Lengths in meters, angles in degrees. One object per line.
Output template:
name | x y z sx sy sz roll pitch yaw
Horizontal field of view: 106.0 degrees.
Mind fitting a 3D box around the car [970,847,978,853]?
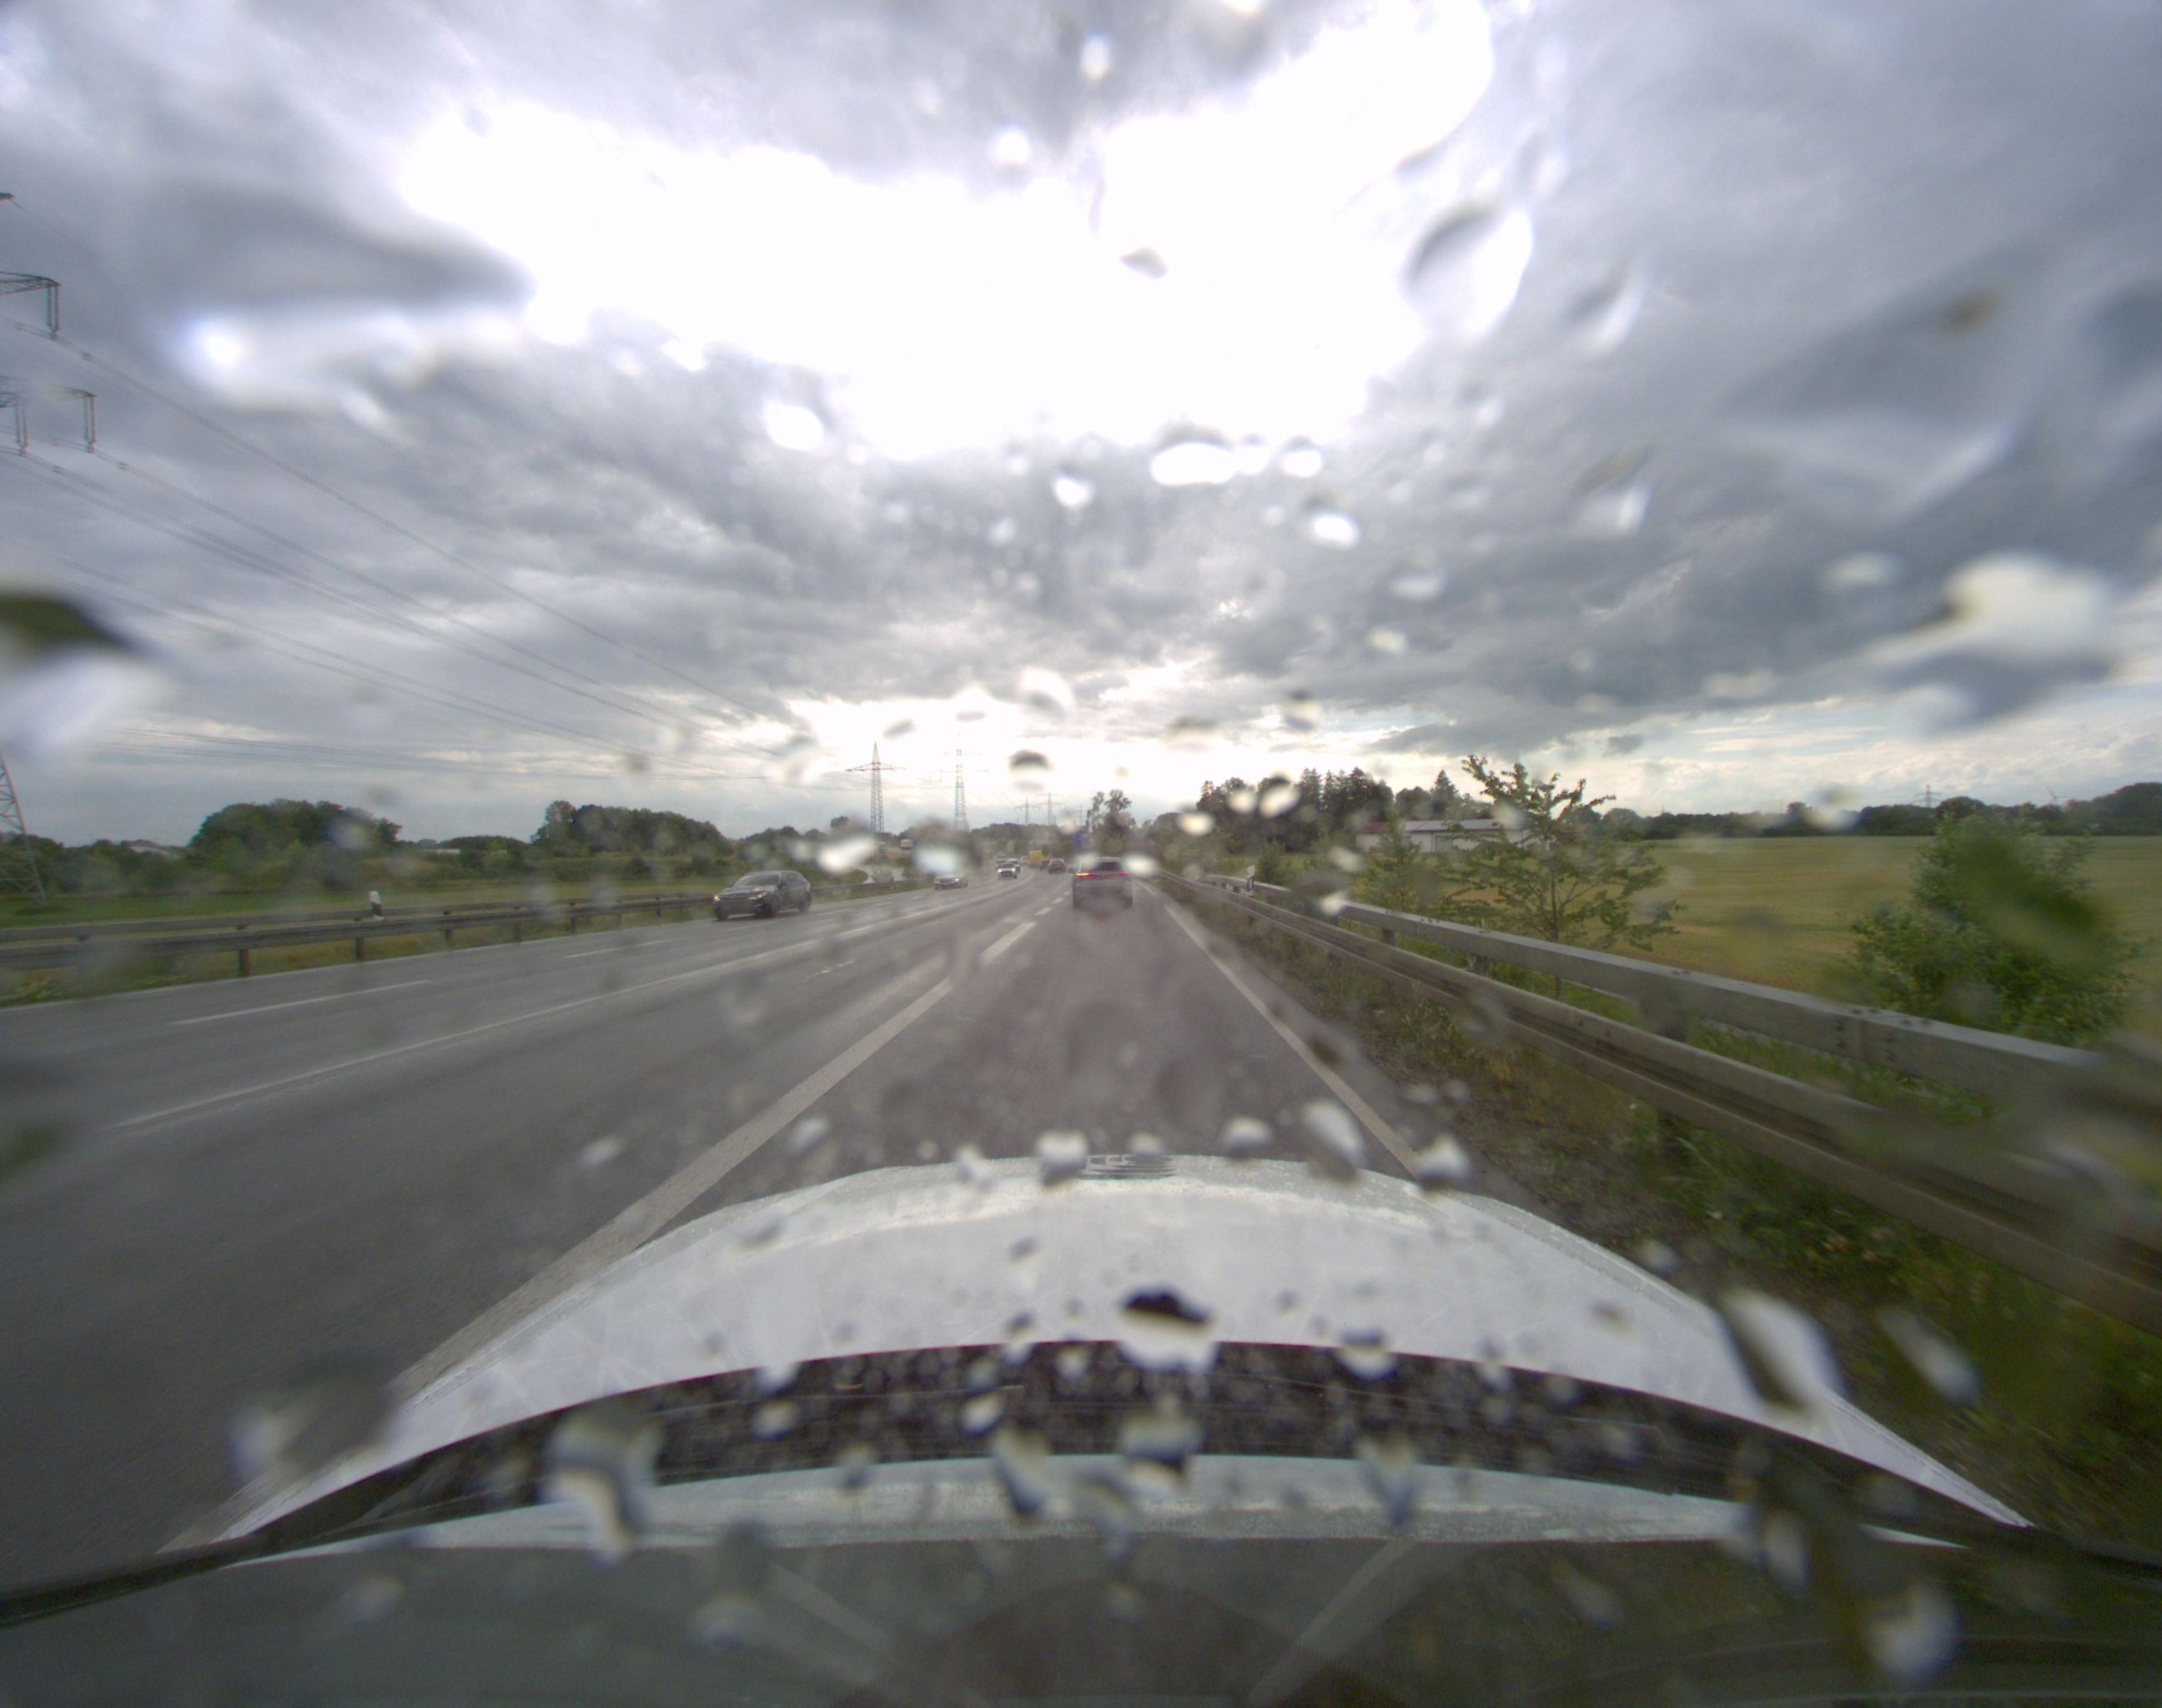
car | -29.076 -1.070 221.330 1.794 1.441 3.980 0 1 -15

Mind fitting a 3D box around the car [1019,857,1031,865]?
car | -10.156 1.259 147.198 1.791 1.441 3.987 0 0 -9

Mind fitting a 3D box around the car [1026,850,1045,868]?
car | -7.033 0.725 125.705 2.570 2.725 7.179 0 0 -7

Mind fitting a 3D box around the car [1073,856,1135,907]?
car | 0.715 0.805 25.539 1.785 1.441 4.001 -1 -1 1

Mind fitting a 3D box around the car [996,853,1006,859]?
car | -20.154 0.593 204.573 1.795 1.441 3.977 0 -1 -17

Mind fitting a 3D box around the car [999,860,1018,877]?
car | -6.923 1.402 78.016 1.764 1.500 4.202 -2 -1 -5

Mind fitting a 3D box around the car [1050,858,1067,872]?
car | -2.437 1.163 88.518 1.786 1.441 3.999 -1 0 -1

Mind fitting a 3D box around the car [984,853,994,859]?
car | -22.731 0.559 201.202 1.794 1.441 3.980 0 -1 -15

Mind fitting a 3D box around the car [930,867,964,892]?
car | -9.325 1.748 57.096 1.939 1.660 4.638 -1 -1 -4

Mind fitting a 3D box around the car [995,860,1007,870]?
car | -12.849 1.792 130.960 1.893 1.441 4.890 -2 -1 -6

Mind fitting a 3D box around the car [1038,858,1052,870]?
car | -4.635 1.339 105.709 1.787 1.541 3.997 0 0 -2

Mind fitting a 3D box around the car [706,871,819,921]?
car | -10.427 1.326 27.090 1.764 1.426 4.736 0 0 2
